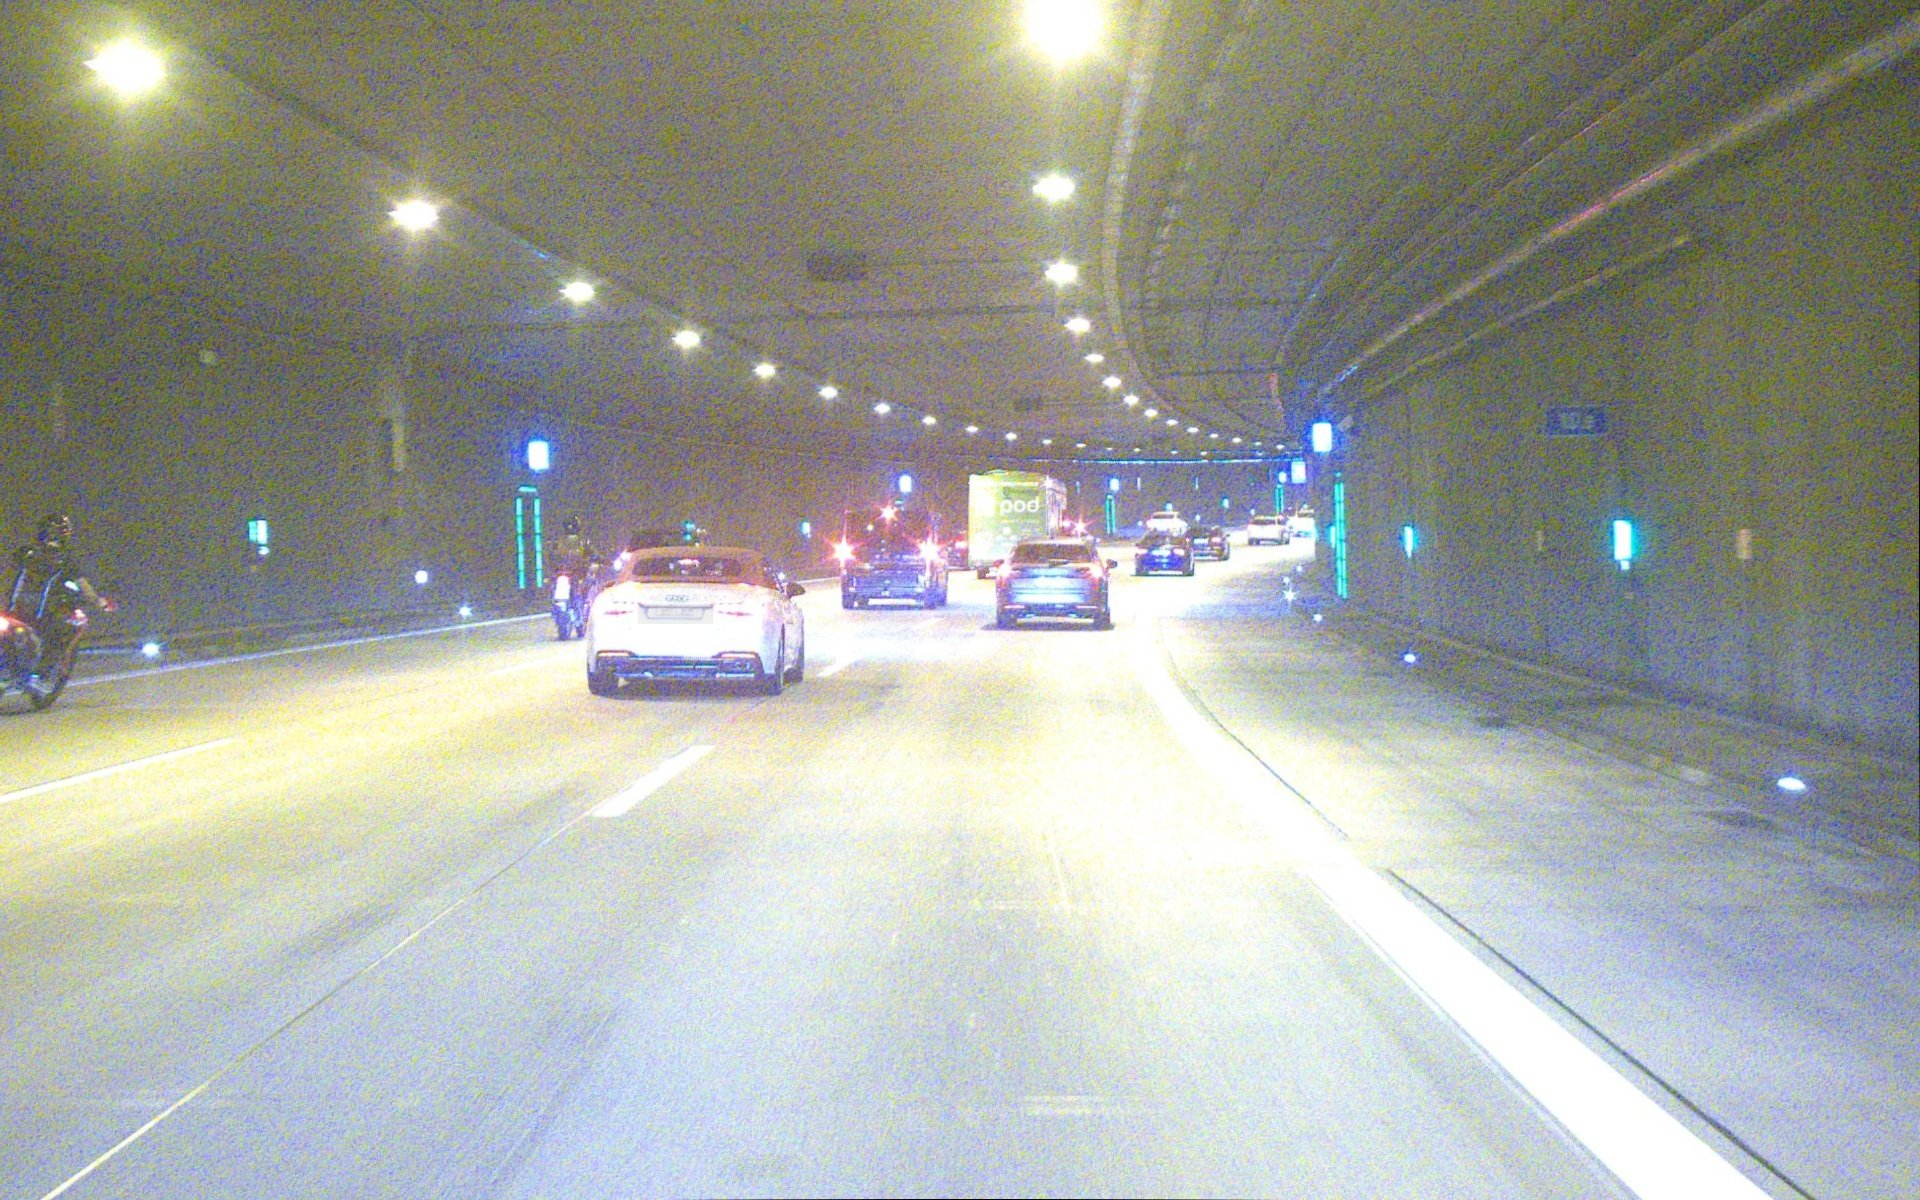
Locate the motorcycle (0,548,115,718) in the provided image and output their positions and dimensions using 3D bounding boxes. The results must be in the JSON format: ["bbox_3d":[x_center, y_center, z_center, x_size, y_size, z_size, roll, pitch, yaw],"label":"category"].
[{"bbox_3d":[-7.474,0.235,27.613,0.683,1.292,2.399,0,1,3],"label":"motorcycle"}]

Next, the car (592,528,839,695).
[{"bbox_3d":[-2.301,0.047,33.577,1.702,1.414,5.060,0,2,4],"label":"car"}]

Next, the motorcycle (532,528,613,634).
[{"bbox_3d":[-5.417,-0.286,48.207,0.926,1.429,2.964,1,1,-3],"label":"motorcycle"}]

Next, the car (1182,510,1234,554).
[{"bbox_3d":[10.081,-2.747,139.357,1.950,1.766,3.999,1,1,6],"label":"car"}]

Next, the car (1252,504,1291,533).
[{"bbox_3d":[18.865,-4.924,207.910,1.931,1.637,3.998,1,1,11],"label":"car"}]

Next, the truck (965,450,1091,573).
[{"bbox_3d":[2.150,-2.705,105.701,3.040,3.660,7.391,0,1,7],"label":"truck"}]

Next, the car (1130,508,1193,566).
[{"bbox_3d":[6.520,-2.036,111.040,1.857,1.848,3.999,0,1,6],"label":"car"}]

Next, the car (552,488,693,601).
[{"bbox_3d":[-6.142,-1.029,63.014,1.994,2.007,4.000,0,1,3],"label":"car"}]

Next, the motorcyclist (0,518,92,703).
[{"bbox_3d":[-7.501,0.073,27.538,0.777,1.447,1.069,1,1,3],"label":"motorcyclist"}]

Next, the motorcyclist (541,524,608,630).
[{"bbox_3d":[-5.394,-0.327,48.189,0.806,1.443,1.865,0,1,-3],"label":"motorcyclist"}]

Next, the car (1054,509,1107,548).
[{"bbox_3d":[5.268,-3.111,149.449,1.931,1.637,3.999,0,1,7],"label":"car"}]

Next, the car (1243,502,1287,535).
[{"bbox_3d":[15.520,-4.136,174.773,1.931,1.637,3.999,1,1,9],"label":"car"}]

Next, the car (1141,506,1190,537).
[{"bbox_3d":[10.984,-4.181,183.462,1.932,1.637,3.998,1,1,13],"label":"car"}]

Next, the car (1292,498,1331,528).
[{"bbox_3d":[19.917,-4.932,194.785,1.994,1.626,3.999,1,1,9],"label":"car"}]

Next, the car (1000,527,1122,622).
[{"bbox_3d":[1.672,-0.391,55.947,1.742,1.459,3.870,1,0,5],"label":"car"}]

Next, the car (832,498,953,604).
[{"bbox_3d":[-1.298,-1.004,68.230,1.910,1.937,3.871,0,3,6],"label":"car"}]
